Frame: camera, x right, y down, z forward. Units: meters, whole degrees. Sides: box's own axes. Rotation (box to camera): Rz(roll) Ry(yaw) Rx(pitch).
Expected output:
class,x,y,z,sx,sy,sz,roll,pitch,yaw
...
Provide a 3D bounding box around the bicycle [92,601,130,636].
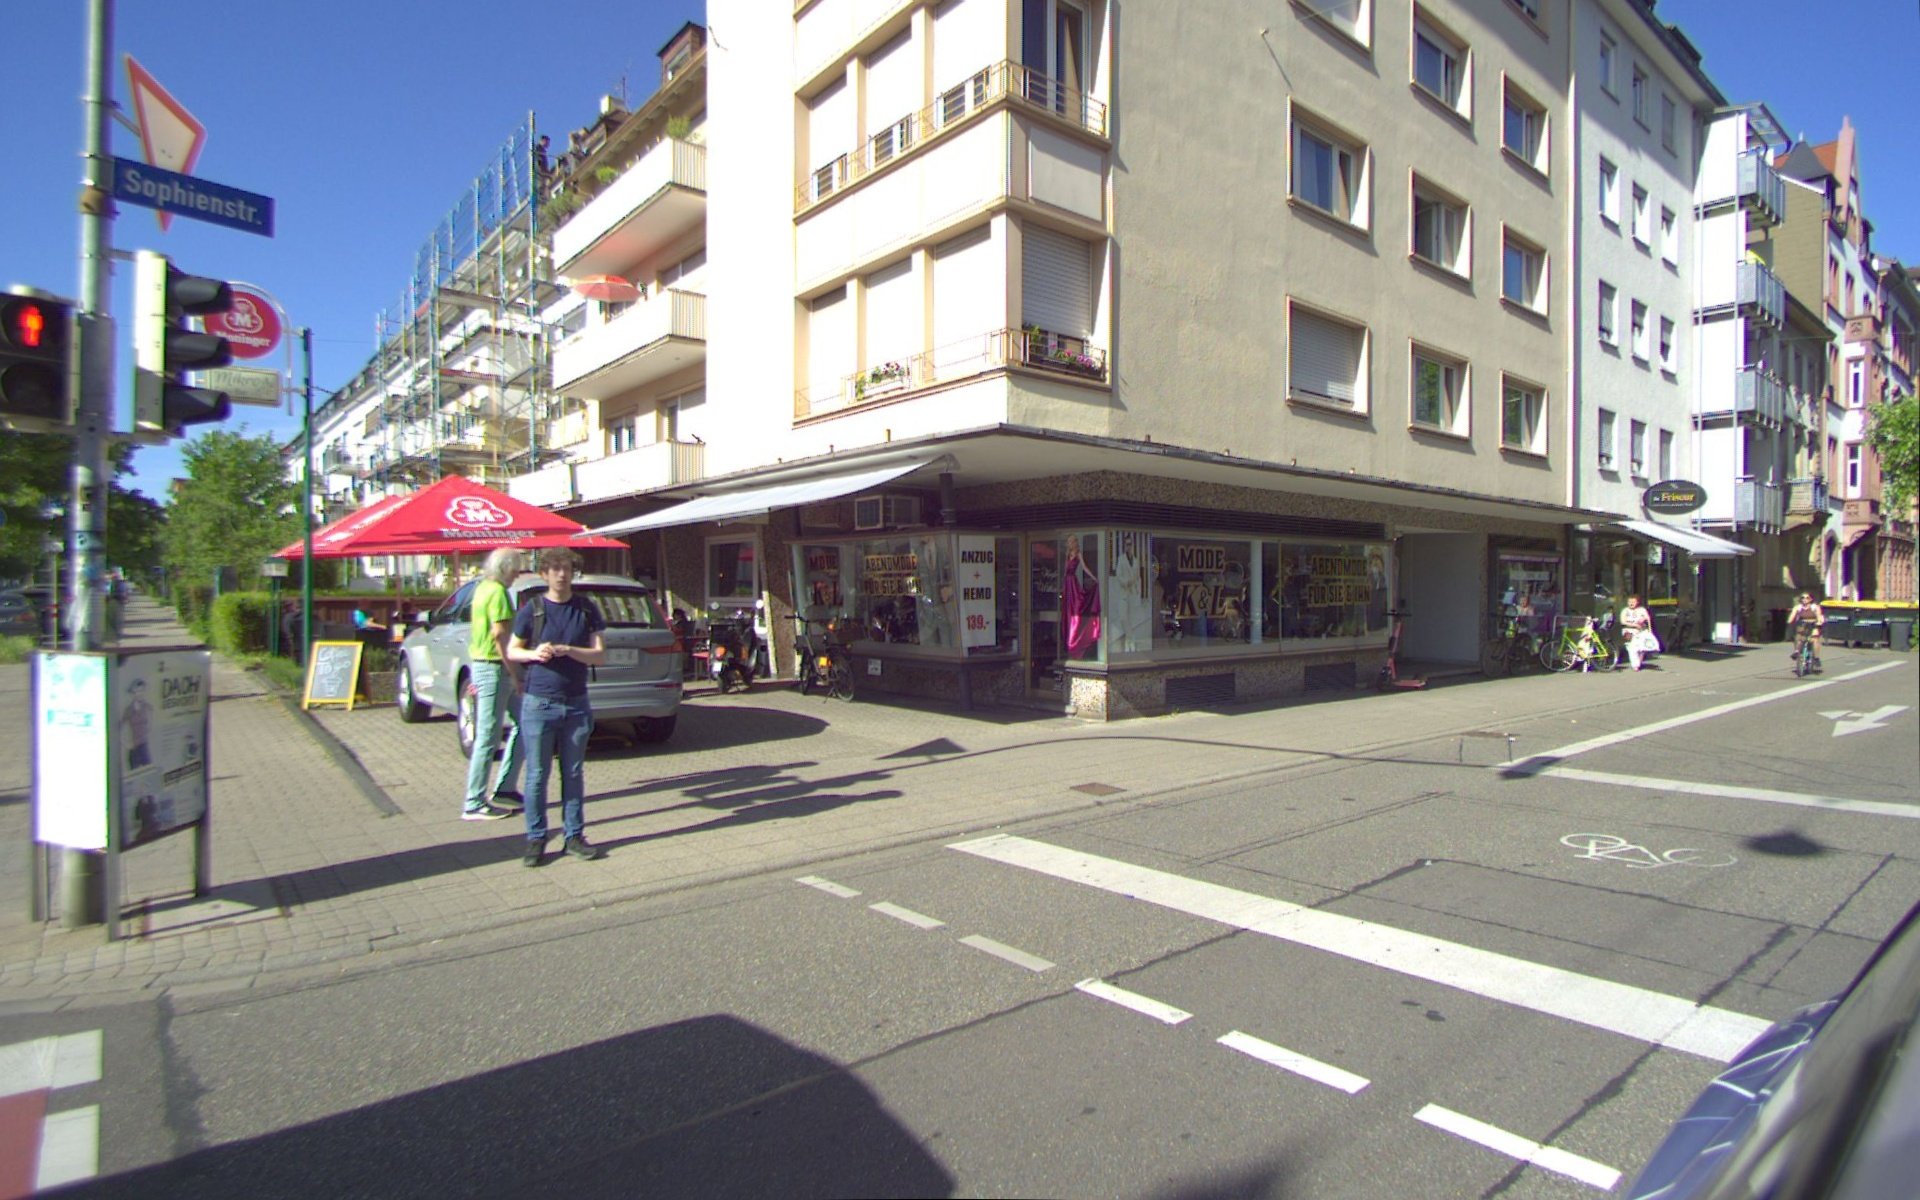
class,x,y,z,sx,sy,sz,roll,pitch,yaw
bicycle,-24.582,0.524,29.290,1.998,0.962,0.644,1,1,44

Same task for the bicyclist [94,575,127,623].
class,x,y,z,sx,sy,sz,roll,pitch,yaw
bicyclist,-24.639,-0.038,29.338,0.881,1.381,0.644,0,0,44

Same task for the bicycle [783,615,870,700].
class,x,y,z,sx,sy,sz,roll,pitch,yaw
bicycle,-1.860,0.745,13.881,0.556,1.030,1.897,0,1,-28

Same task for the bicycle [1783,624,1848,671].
class,x,y,z,sx,sy,sz,roll,pitch,yaw
bicycle,16.789,0.915,19.846,1.677,0.816,0.583,0,0,-35

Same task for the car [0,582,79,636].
class,x,y,z,sx,sy,sz,roll,pitch,yaw
car,-26.636,0.216,29.197,1.683,1.472,3.996,0,1,-39

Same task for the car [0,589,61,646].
class,x,y,z,sx,sy,sz,roll,pitch,yaw
car,-23.639,0.390,25.235,1.683,1.331,3.995,0,1,-39

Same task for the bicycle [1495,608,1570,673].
class,x,y,z,sx,sy,sz,roll,pitch,yaw
bicycle,10.373,0.713,18.312,1.766,1.098,0.408,0,3,-35

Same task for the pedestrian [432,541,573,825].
class,x,y,z,sx,sy,sz,roll,pitch,yaw
pedestrian,-3.097,0.513,6.840,0.748,1.780,0.664,-1,0,-34

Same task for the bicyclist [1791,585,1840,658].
class,x,y,z,sx,sy,sz,roll,pitch,yaw
bicyclist,16.753,0.409,19.820,0.652,1.394,0.583,0,0,-35

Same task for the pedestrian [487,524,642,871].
class,x,y,z,sx,sy,sz,roll,pitch,yaw
pedestrian,-2.267,0.514,5.814,0.624,1.845,0.598,0,0,36

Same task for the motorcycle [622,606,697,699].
class,x,y,z,sx,sy,sz,roll,pitch,yaw
motorcycle,-4.203,0.693,14.285,0.556,1.181,2.015,0,1,-2

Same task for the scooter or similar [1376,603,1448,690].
class,x,y,z,sx,sy,sz,roll,pitch,yaw
scooter or similar,6.850,0.682,15.311,1.207,1.240,0.527,0,0,-40

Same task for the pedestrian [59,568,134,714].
class,x,y,z,sx,sy,sz,roll,pitch,yaw
pedestrian,-10.061,0.456,11.794,0.635,1.638,0.593,0,0,-45

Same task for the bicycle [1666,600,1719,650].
class,x,y,z,sx,sy,sz,roll,pitch,yaw
bicycle,17.961,0.593,24.798,1.742,1.157,0.598,0,3,-40

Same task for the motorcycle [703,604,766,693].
class,x,y,z,sx,sy,sz,roll,pitch,yaw
motorcycle,-3.306,0.674,14.974,0.556,1.181,2.015,0,1,-2

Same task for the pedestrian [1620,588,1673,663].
class,x,y,z,sx,sy,sz,roll,pitch,yaw
pedestrian,13.719,0.499,20.219,0.615,1.460,0.774,0,0,-44

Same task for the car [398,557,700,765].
class,x,y,z,sx,sy,sz,roll,pitch,yaw
car,-4.345,0.464,10.329,1.793,1.683,3.996,0,1,-39

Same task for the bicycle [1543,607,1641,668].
class,x,y,z,sx,sy,sz,roll,pitch,yaw
bicycle,12.254,0.715,19.668,1.476,1.120,0.719,0,0,19
